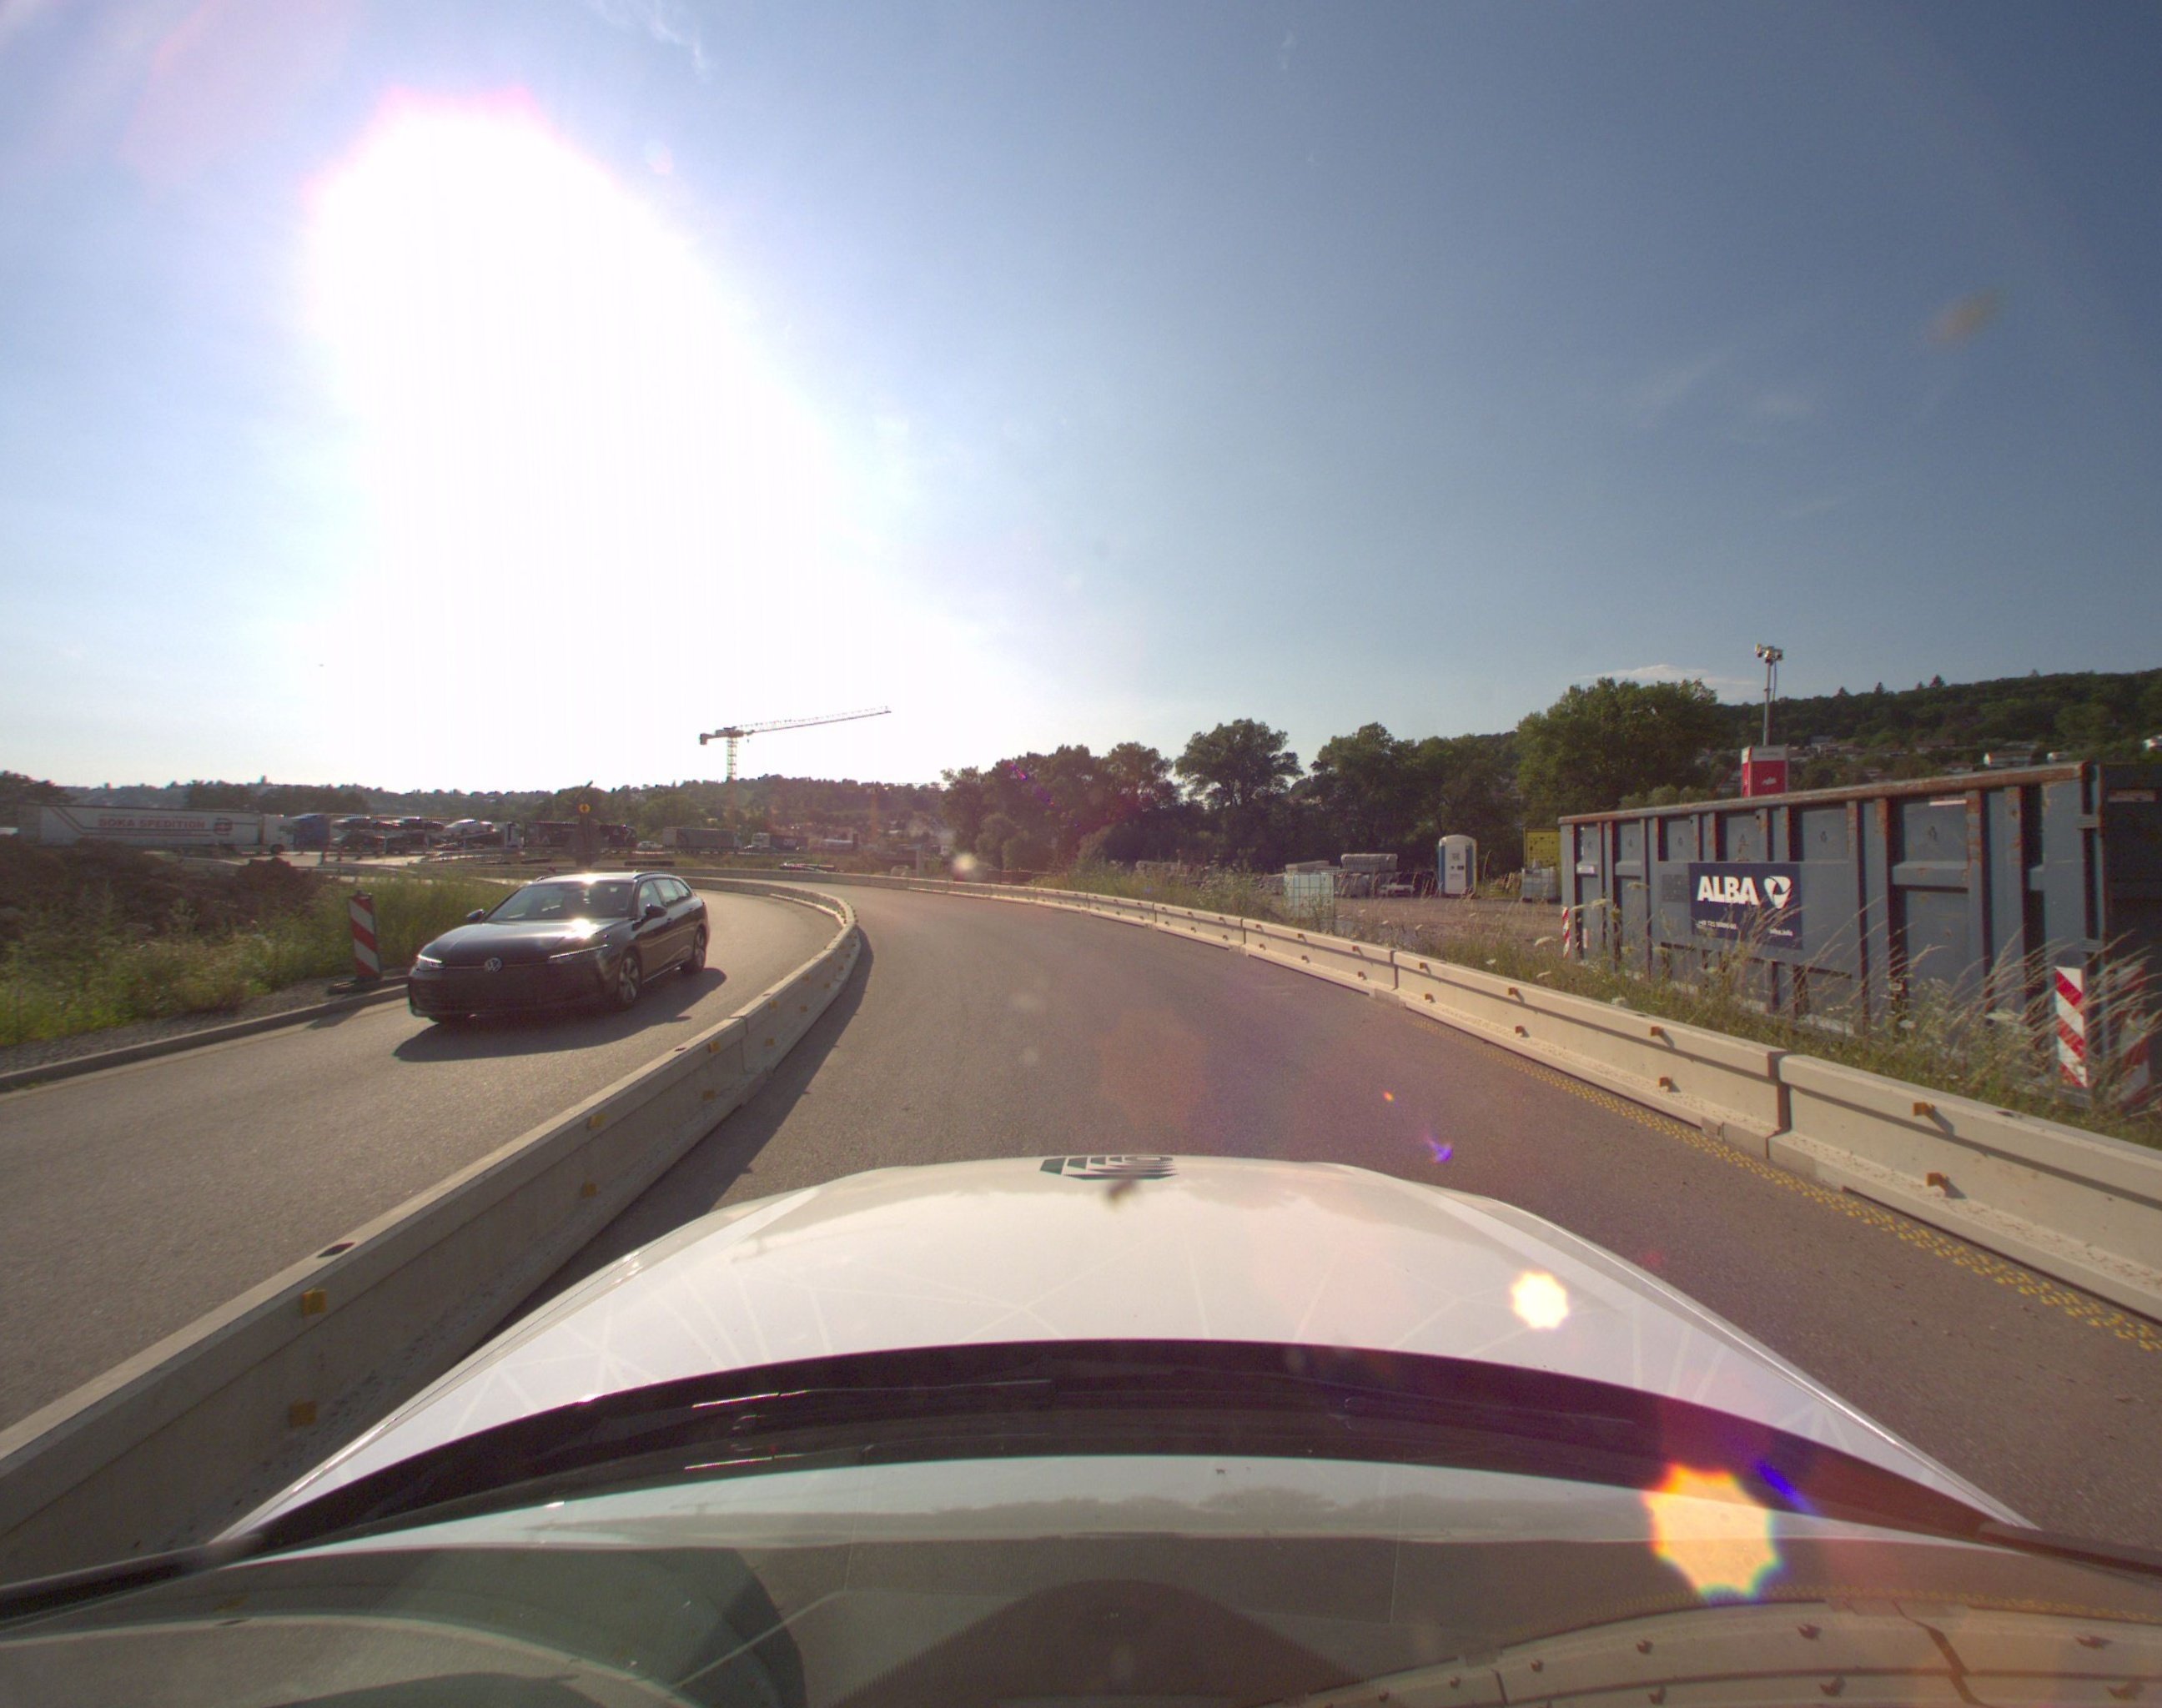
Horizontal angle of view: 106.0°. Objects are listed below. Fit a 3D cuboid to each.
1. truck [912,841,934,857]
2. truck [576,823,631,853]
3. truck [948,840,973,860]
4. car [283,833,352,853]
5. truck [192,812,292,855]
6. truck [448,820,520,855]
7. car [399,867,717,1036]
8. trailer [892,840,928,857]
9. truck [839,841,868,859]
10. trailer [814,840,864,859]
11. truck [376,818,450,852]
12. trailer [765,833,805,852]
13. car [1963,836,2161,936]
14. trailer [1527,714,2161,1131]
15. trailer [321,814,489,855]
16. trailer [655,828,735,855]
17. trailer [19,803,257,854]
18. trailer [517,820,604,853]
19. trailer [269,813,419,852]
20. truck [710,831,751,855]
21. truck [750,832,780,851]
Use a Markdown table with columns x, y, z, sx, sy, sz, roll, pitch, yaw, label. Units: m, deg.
| x | y | z | sx | sy | sz | roll | pitch | yaw | label |
| --- | --- | --- | --- | --- | --- | --- | --- | --- | --- |
| -42.743 | -1.316 | 220.253 | 3.076 | 4.285 | 6.649 | 1 | 0 | 14 | truck |
| -68.755 | -2.264 | 117.411 | 2.864 | 3.996 | 6.651 | 1 | 0 | 15 | truck |
| -36.116 | -1.195 | 244.679 | 3.141 | 5.871 | 10.717 | 0 | -1 | 15 | truck |
| -82.056 | -1.123 | 87.595 | 2.014 | 1.981 | 4.999 | 3 | 1 | 15 | car |
| -79.030 | -1.868 | 76.907 | 2.463 | 3.878 | 6.033 | 1 | 0 | 14 | truck |
| -73.153 | -1.940 | 99.968 | 2.828 | 3.996 | 6.649 | 1 | 0 | 14 | truck |
| -5.904 | 0.938 | 9.913 | 1.711 | 1.519 | 4.497 | -1 | -1 | -12 | car |
| -44.588 | -1.360 | 212.907 | 3.081 | 4.314 | 14.305 | 1 | 0 | 14 | trailer |
| -51.663 | -0.823 | 185.224 | 3.366 | 3.996 | 6.649 | 1 | 0 | 14 | truck |
| -53.152 | -0.875 | 179.250 | 3.361 | 3.996 | 14.800 | 1 | 0 | 14 | trailer |
| -83.342 | -2.290 | 101.795 | 2.828 | 3.996 | 6.649 | 1 | 0 | 14 | truck |
| -63.521 | -2.438 | 174.885 | 2.984 | 3.752 | 9.608 | 0 | -1 | 15 | trailer |
| 23.995 | 0.686 | 19.269 | 2.456 | 2.079 | 5.351 | 0 | -1 | 26 | car |
| 7.707 | 0.440 | 8.245 | 2.989 | 2.414 | 7.239 | 1 | 0 | 5 | trailer |
| -75.251 | -1.998 | 91.534 | 2.837 | 3.996 | 15.804 | 1 | 0 | 14 | trailer |
| -64.221 | -1.975 | 136.215 | 3.361 | 3.996 | 14.800 | 1 | 0 | 14 | trailer |
| -80.606 | -2.004 | 70.405 | 2.463 | 3.878 | 13.681 | 1 | 0 | 14 | trailer |
| -70.550 | -2.278 | 110.795 | 2.937 | 4.092 | 10.836 | 0 | 0 | 15 | trailer |
| -85.087 | -2.329 | 94.630 | 2.837 | 3.996 | 13.526 | 1 | 0 | 14 | trailer |
| -62.146 | -1.923 | 144.570 | 3.319 | 3.996 | 6.649 | 1 | 0 | 14 | truck |
| -65.288 | -2.478 | 168.361 | 2.975 | 3.727 | 5.710 | 0 | -1 | 14 | truck |
